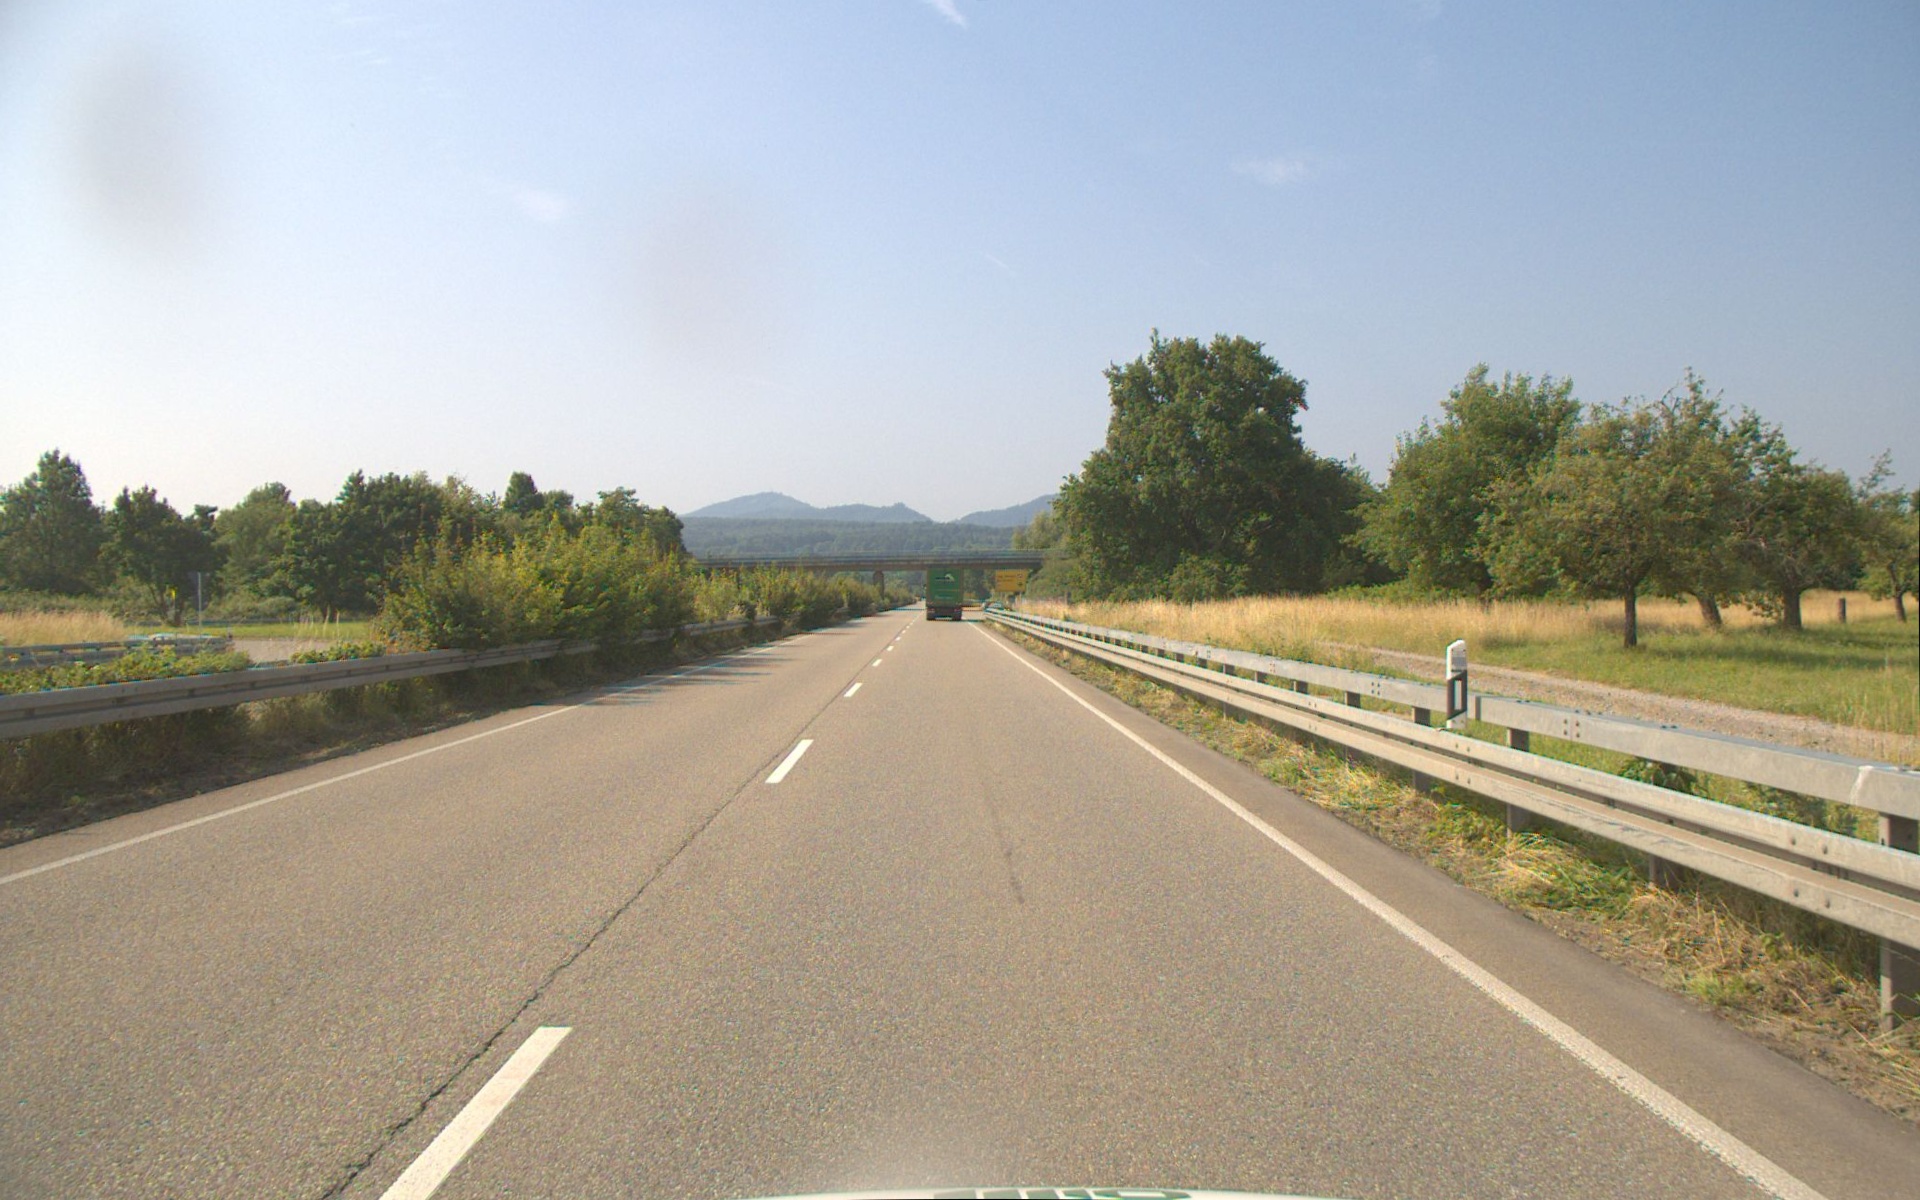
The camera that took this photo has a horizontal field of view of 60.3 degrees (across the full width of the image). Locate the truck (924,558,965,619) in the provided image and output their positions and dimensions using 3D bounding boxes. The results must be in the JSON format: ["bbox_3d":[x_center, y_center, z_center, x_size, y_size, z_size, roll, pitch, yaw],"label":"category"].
[{"bbox_3d":[-1.080,-0.900,115.910,2.667,4.034,10.415,1,1,-1],"label":"truck"}]
